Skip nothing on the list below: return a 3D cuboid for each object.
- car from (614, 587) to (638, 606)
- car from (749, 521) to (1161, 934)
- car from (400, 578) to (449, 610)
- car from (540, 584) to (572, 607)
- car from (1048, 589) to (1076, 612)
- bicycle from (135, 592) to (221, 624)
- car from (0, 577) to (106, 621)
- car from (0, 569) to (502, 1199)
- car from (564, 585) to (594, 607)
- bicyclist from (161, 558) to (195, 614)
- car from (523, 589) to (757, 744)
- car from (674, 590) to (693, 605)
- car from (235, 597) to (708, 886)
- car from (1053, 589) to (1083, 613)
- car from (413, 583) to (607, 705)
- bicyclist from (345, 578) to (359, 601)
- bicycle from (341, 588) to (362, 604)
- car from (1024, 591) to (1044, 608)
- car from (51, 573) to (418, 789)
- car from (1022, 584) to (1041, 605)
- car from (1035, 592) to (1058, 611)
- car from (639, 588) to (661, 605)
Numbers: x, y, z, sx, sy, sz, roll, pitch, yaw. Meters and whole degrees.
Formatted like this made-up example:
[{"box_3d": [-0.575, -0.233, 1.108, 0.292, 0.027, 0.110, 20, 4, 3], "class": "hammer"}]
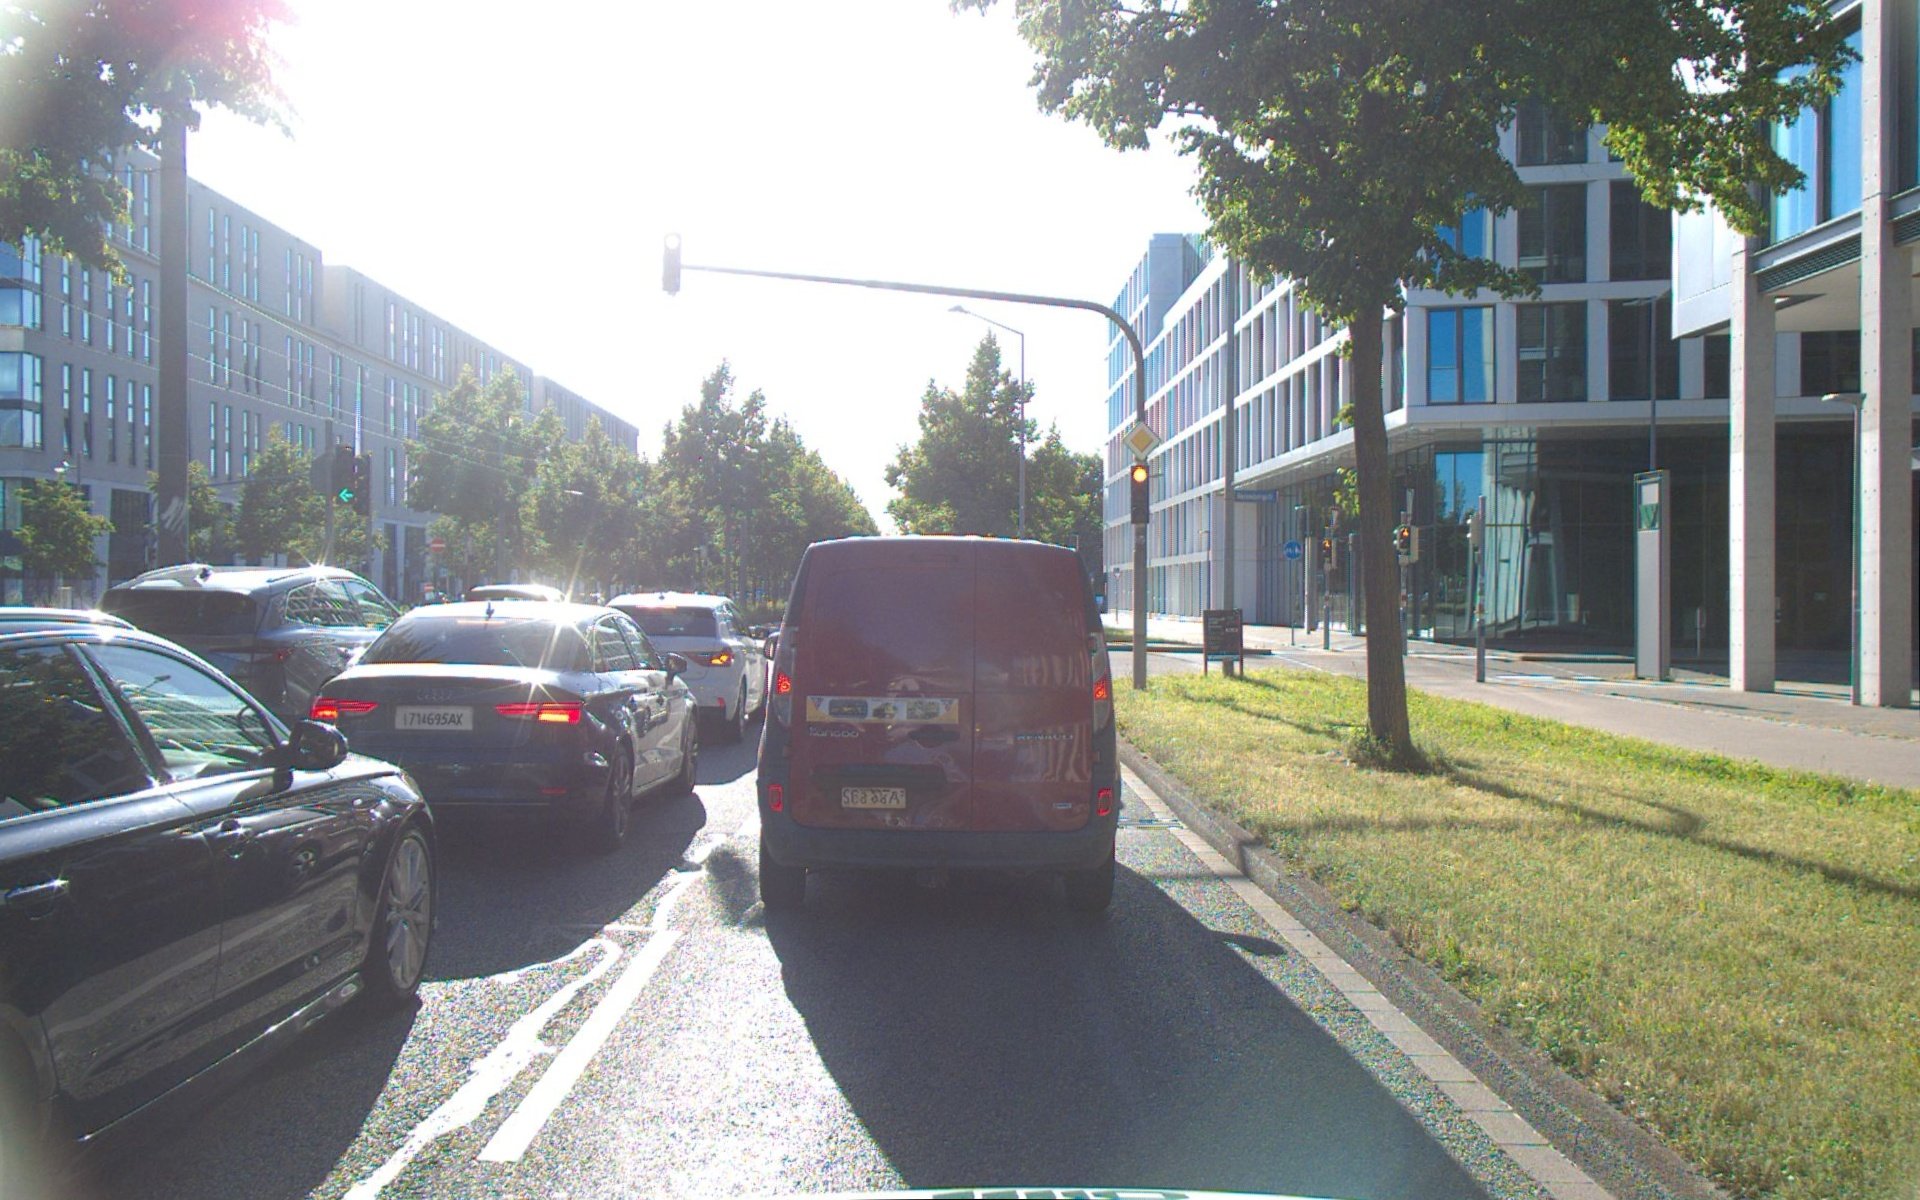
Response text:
[{"box_3d": [-36.711, -0.399, 181.853, 1.953, 2.049, 3.999, 0, 0, -1], "class": "car"}, {"box_3d": [-0.050, 0.553, 9.289, 1.804, 1.812, 3.999, 0, 0, -1], "class": "car"}, {"box_3d": [-35.280, -0.381, 109.109, 1.953, 2.049, 3.999, 0, 0, -1], "class": "car"}, {"box_3d": [-36.361, -0.441, 148.773, 1.953, 2.049, 3.999, 0, 0, -1], "class": "car"}, {"box_3d": [8.210, 0.048, 133.035, 1.953, 1.813, 3.999, 0, 0, -1], "class": "car"}, {"box_3d": [-29.986, 0.298, 63.426, 2.883, 1.211, 0.817, 0, 0, -3], "class": "bicycle"}, {"box_3d": [-33.197, -0.061, 60.651, 1.729, 1.546, 3.999, 0, 1, -1], "class": "car"}, {"box_3d": [-2.757, 0.689, 4.411, 1.836, 1.510, 4.965, 0, 0, -2], "class": "car"}, {"box_3d": [-36.378, -0.426, 157.873, 1.953, 2.049, 3.999, 0, 0, -1], "class": "car"}, {"box_3d": [-29.992, -0.553, 63.436, 0.921, 2.129, 0.817, 0, 0, -3], "class": "bicyclist"}, {"box_3d": [-3.246, 0.616, 17.501, 1.767, 1.451, 3.900, 0, 0, -1], "class": "car"}, {"box_3d": [-37.157, -0.347, 222.302, 1.953, 2.049, 3.999, 0, 0, -1], "class": "car"}, {"box_3d": [-2.819, 0.720, 10.608, 1.804, 1.451, 4.338, 0, 0, -1], "class": "car"}, {"box_3d": [8.334, 0.045, 127.964, 1.953, 1.813, 3.999, 0, 0, -1], "class": "car"}, {"box_3d": [-6.449, 0.568, 24.217, 1.764, 1.508, 4.565, 3, 0, -4], "class": "car"}, {"box_3d": [-40.654, -0.715, 110.623, 0.663, 1.556, 0.714, 0, 0, -1], "class": "bicyclist"}, {"box_3d": [-40.652, -0.277, 110.522, 0.663, 1.005, 1.956, 0, 0, -1], "class": "bicycle"}, {"box_3d": [8.074, -0.079, 179.934, 1.953, 1.813, 3.999, 0, 0, -1], "class": "car"}, {"box_3d": [-5.757, 0.526, 13.739, 1.767, 1.473, 4.557, 0, 1, -10], "class": "car"}, {"box_3d": [8.588, -0.678, 198.460, 1.953, 2.540, 4.986, 0, 0, -1], "class": "car"}, {"box_3d": [8.428, 0.105, 160.739, 1.953, 1.813, 3.999, 0, 0, -1], "class": "car"}, {"box_3d": [-37.207, -0.390, 198.660, 1.953, 2.049, 3.999, 0, 0, -1], "class": "car"}]
